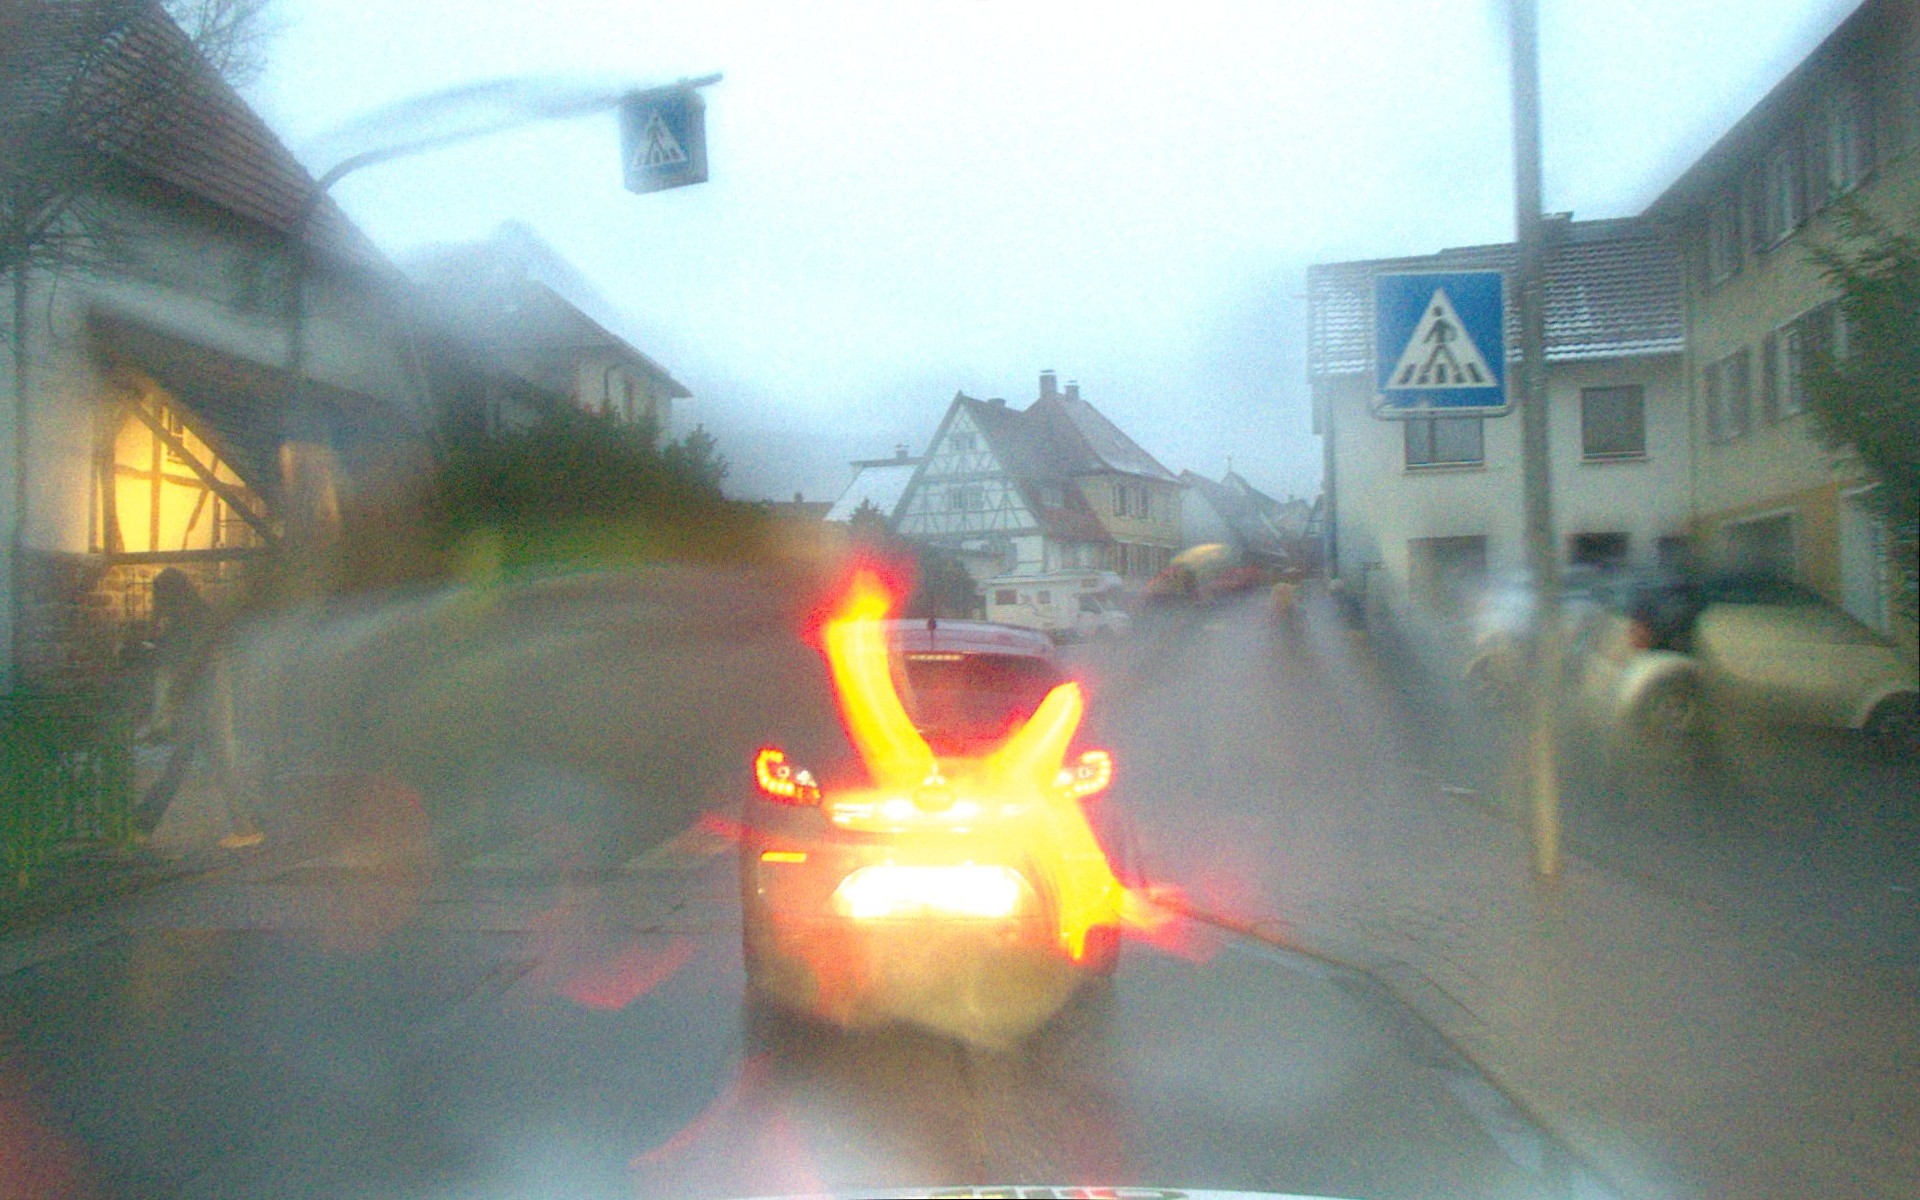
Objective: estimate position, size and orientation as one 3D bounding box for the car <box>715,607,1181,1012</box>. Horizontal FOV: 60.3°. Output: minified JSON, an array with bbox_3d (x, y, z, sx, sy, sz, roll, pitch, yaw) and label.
[{"bbox_3d":[-0.156,0.790,8.233,1.760,1.502,3.997,0,0,-4],"label":"car"}]

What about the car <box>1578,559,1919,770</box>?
[{"bbox_3d":[6.742,0.509,13.913,2.528,1.574,1.552,-3,0,6],"label":"car"}]

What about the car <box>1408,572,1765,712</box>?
[{"bbox_3d":[7.656,0.512,20.546,3.817,1.500,1.752,-3,-1,9],"label":"car"}]

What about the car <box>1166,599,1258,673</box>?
[{"bbox_3d":[6.141,0.831,39.901,1.808,1.666,4.339,0,0,14],"label":"car"}]

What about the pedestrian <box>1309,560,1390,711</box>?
[{"bbox_3d":[4.803,0.428,20.396,0.830,1.763,0.972,-4,-1,14],"label":"pedestrian"}]

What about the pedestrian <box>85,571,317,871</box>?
[{"bbox_3d":[-4.699,0.720,10.293,0.861,1.765,0.956,-2,0,14],"label":"pedestrian"}]

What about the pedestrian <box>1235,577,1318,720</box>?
[{"bbox_3d":[3.962,0.590,20.652,0.848,1.696,0.993,-4,-1,13],"label":"pedestrian"}]

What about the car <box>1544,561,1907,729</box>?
[{"bbox_3d":[7.712,0.453,16.905,2.999,1.500,1.551,-3,-1,9],"label":"car"}]

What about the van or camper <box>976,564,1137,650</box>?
[{"bbox_3d":[3.916,0.303,67.398,5.937,3.006,2.406,-5,-2,22],"label":"van or camper"}]
